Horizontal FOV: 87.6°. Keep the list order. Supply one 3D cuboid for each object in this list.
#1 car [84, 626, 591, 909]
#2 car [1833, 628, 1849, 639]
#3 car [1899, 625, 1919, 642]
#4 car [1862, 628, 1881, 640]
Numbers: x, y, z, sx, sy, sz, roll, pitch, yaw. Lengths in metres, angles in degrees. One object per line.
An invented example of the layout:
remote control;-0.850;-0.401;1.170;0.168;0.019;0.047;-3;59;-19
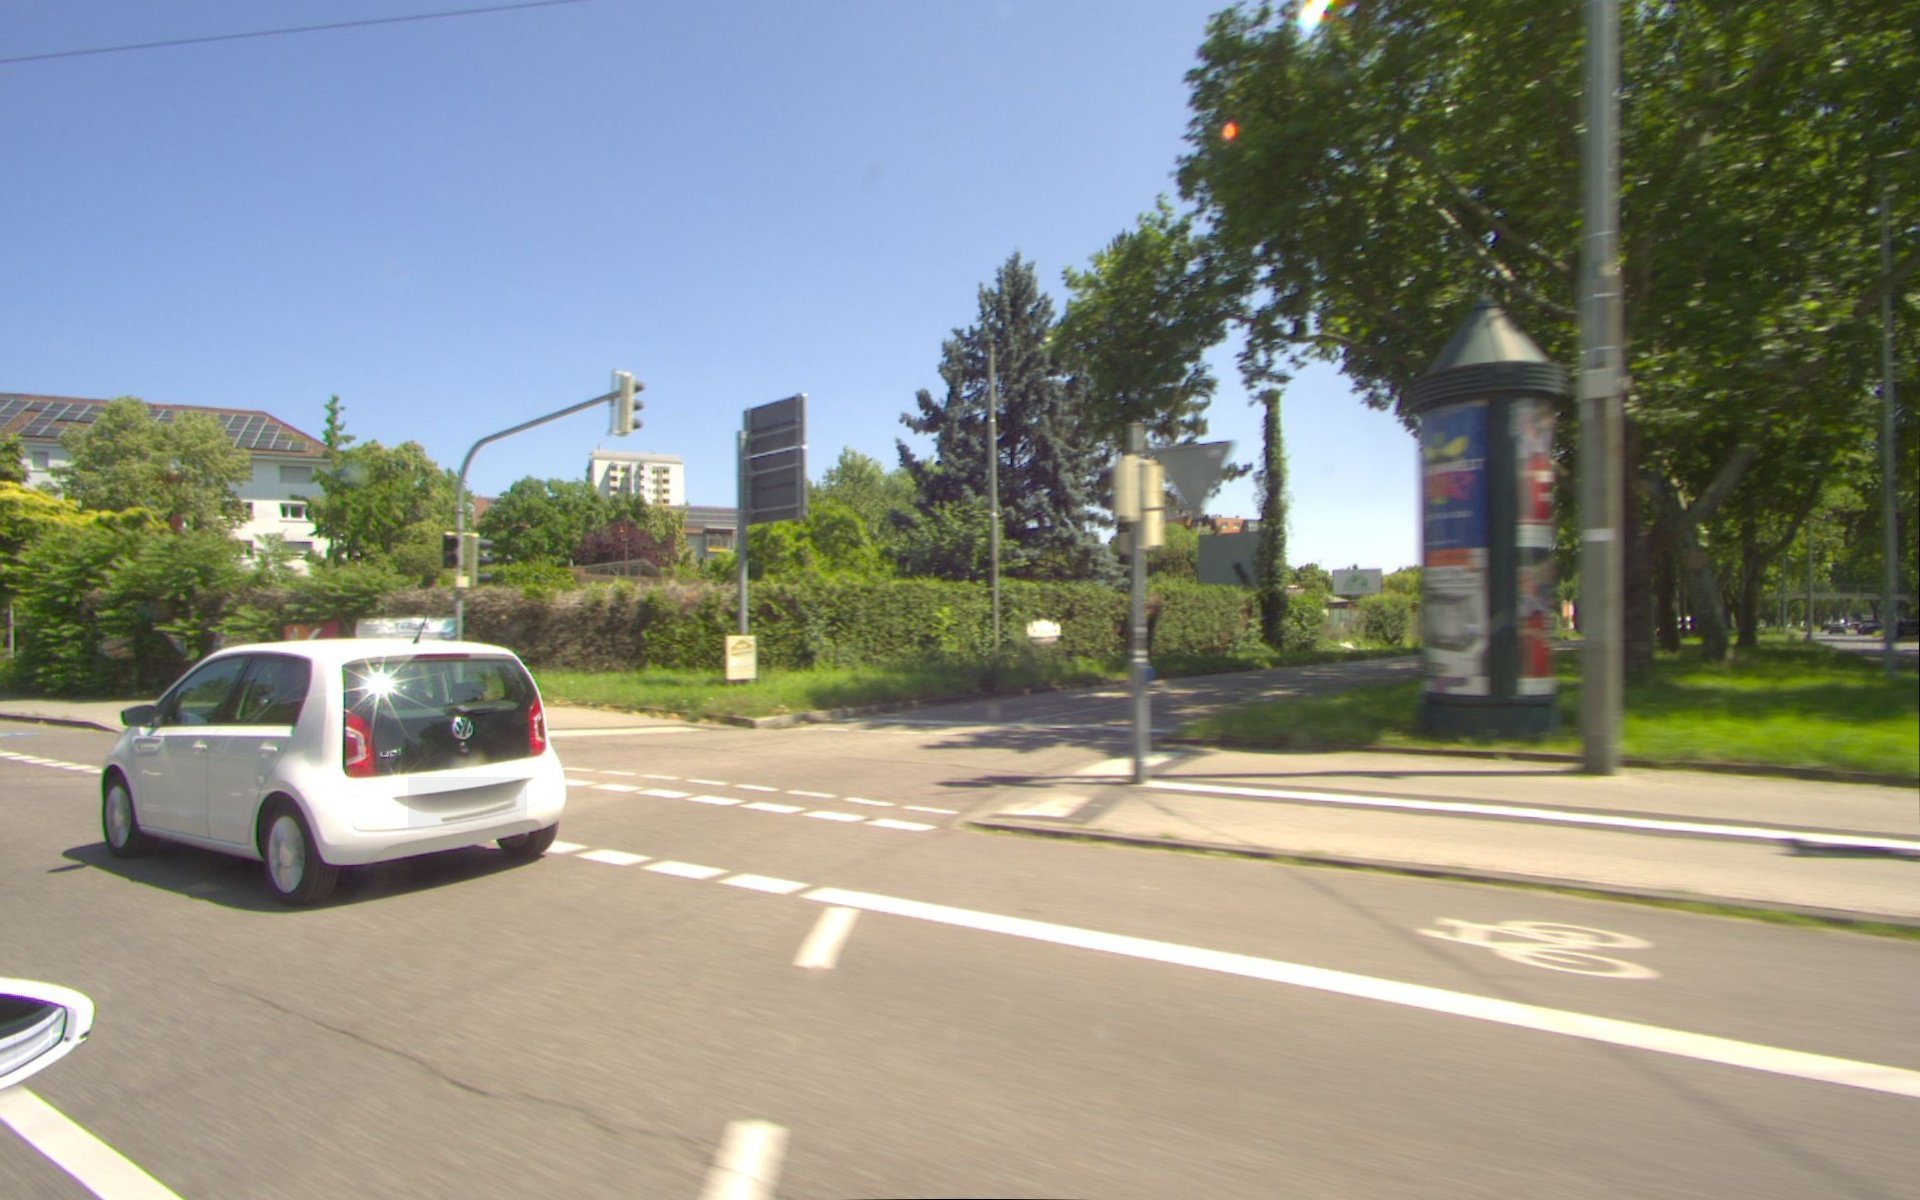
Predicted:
car;-4.294;0.931;6.819;3.386;1.465;1.607;-1;-3;32
car;120.757;4.554;137.177;1.476;1.463;3.323;-2;-3;44
car;82.805;2.908;86.982;1.690;1.463;3.356;-3;-4;44
car;112.588;4.179;123.676;1.690;1.464;3.355;-3;-3;44
